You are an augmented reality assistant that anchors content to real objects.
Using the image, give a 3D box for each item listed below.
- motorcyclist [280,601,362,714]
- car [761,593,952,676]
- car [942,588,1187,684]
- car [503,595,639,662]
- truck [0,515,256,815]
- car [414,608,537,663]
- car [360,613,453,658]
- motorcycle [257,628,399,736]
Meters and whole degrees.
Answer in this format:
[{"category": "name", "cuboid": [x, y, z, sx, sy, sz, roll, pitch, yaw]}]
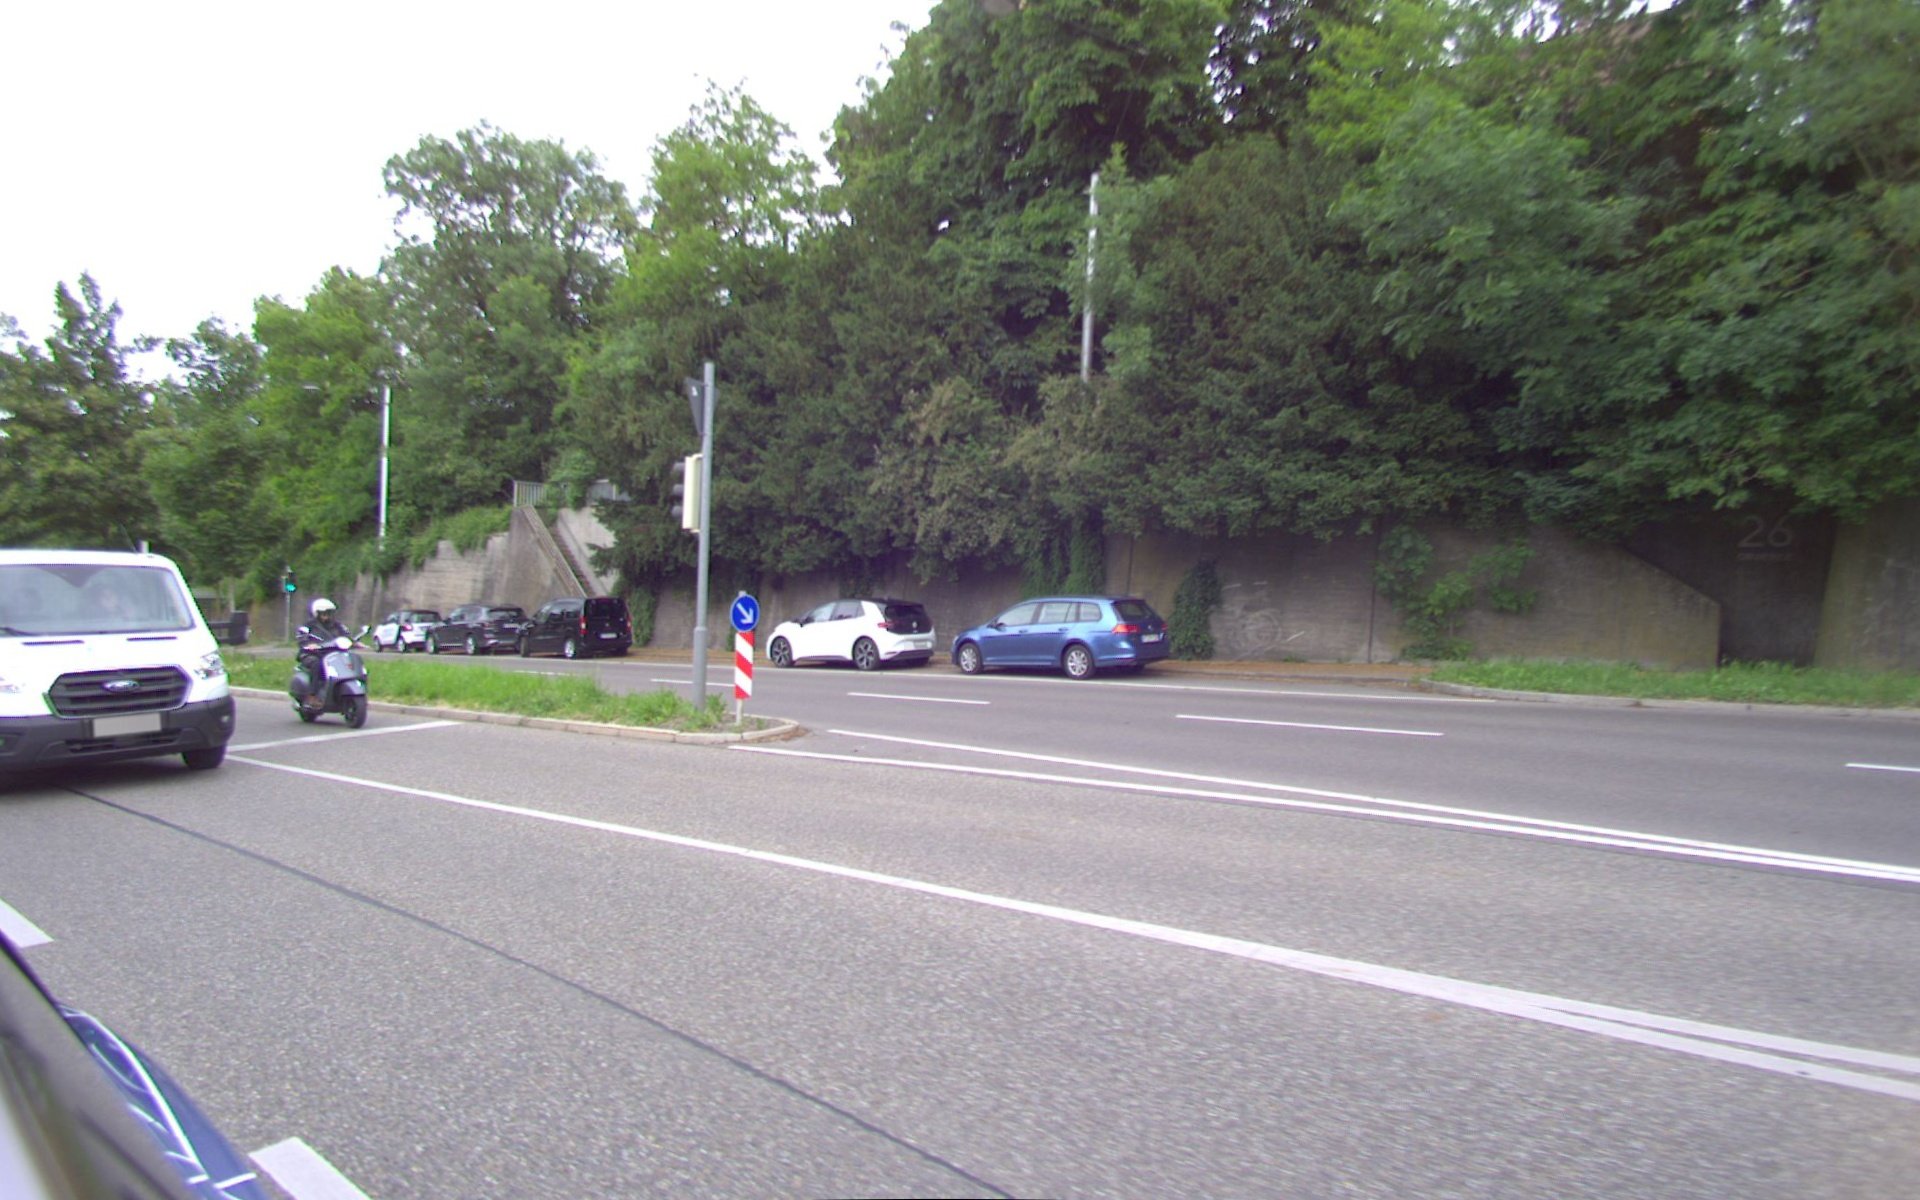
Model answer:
[{"category": "motorcyclist", "cuboid": [-8.413, 0.732, 13.323, 0.721, 1.429, 0.677, -2, -1, 34]}, {"category": "car", "cuboid": [-2.352, 0.753, 22.521, 4.165, 1.641, 1.763, -2, 0, 39]}, {"category": "car", "cuboid": [1.818, 0.643, 18.586, 4.301, 1.540, 1.693, -2, 0, 43]}, {"category": "car", "cuboid": [-11.756, 0.868, 30.487, 4.482, 1.857, 1.763, -2, 0, 38]}, {"category": "truck", "cuboid": [-9.714, 0.529, 10.290, 6.315, 2.338, 2.058, -1, 1, 34]}, {"category": "car", "cuboid": [-16.272, 1.153, 33.910, 4.527, 1.669, 1.950, -1, 0, 39]}, {"category": "car", "cuboid": [-20.413, 1.303, 37.310, 3.090, 1.510, 1.765, -2, 0, 34]}, {"category": "motorcycle", "cuboid": [-8.325, 1.036, 13.308, 2.040, 1.309, 0.821, -2, -1, 34]}]
